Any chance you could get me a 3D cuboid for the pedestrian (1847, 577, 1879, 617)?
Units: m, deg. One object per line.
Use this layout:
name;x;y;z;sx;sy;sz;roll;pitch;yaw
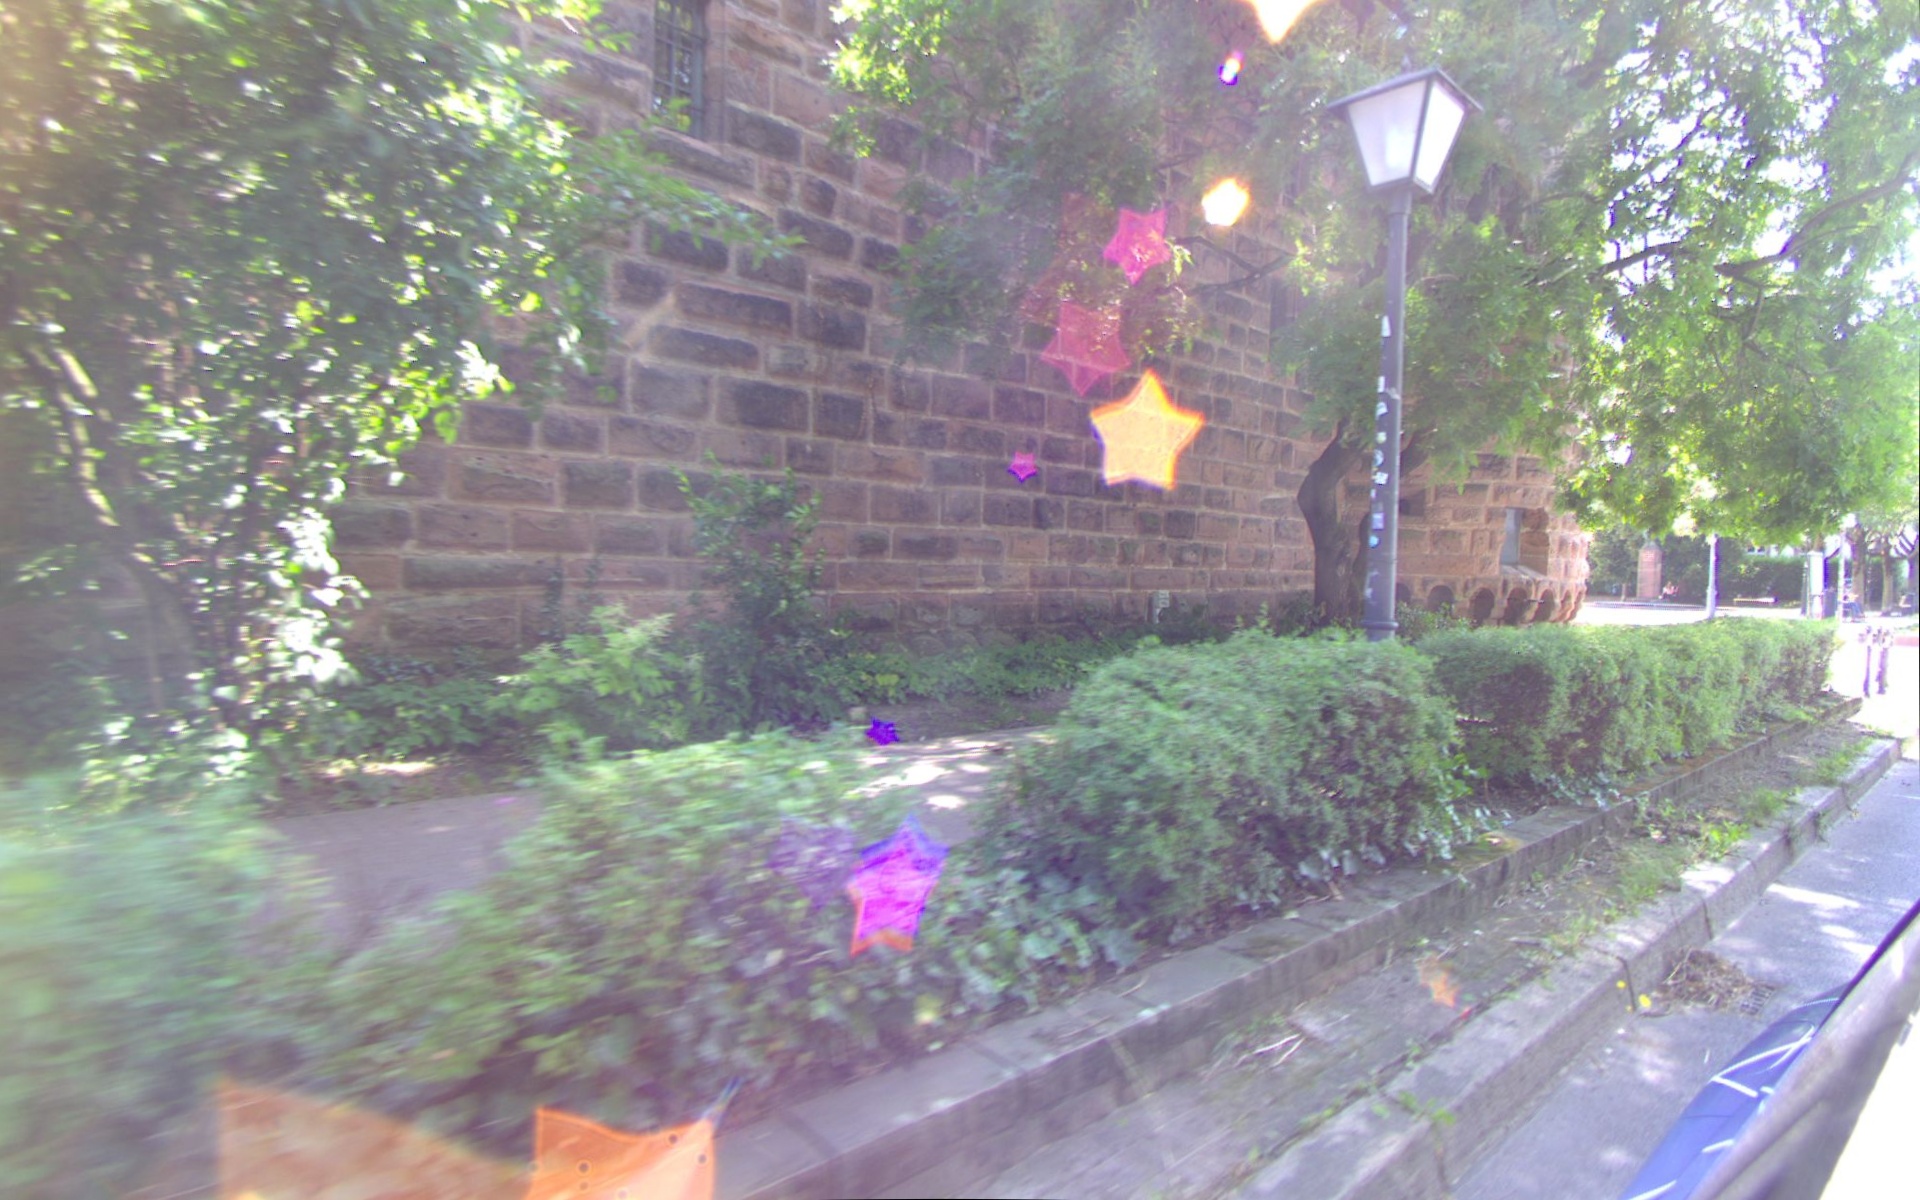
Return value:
pedestrian;27.990;-0.097;31.360;0.733;1.208;0.632;0;0;-39
